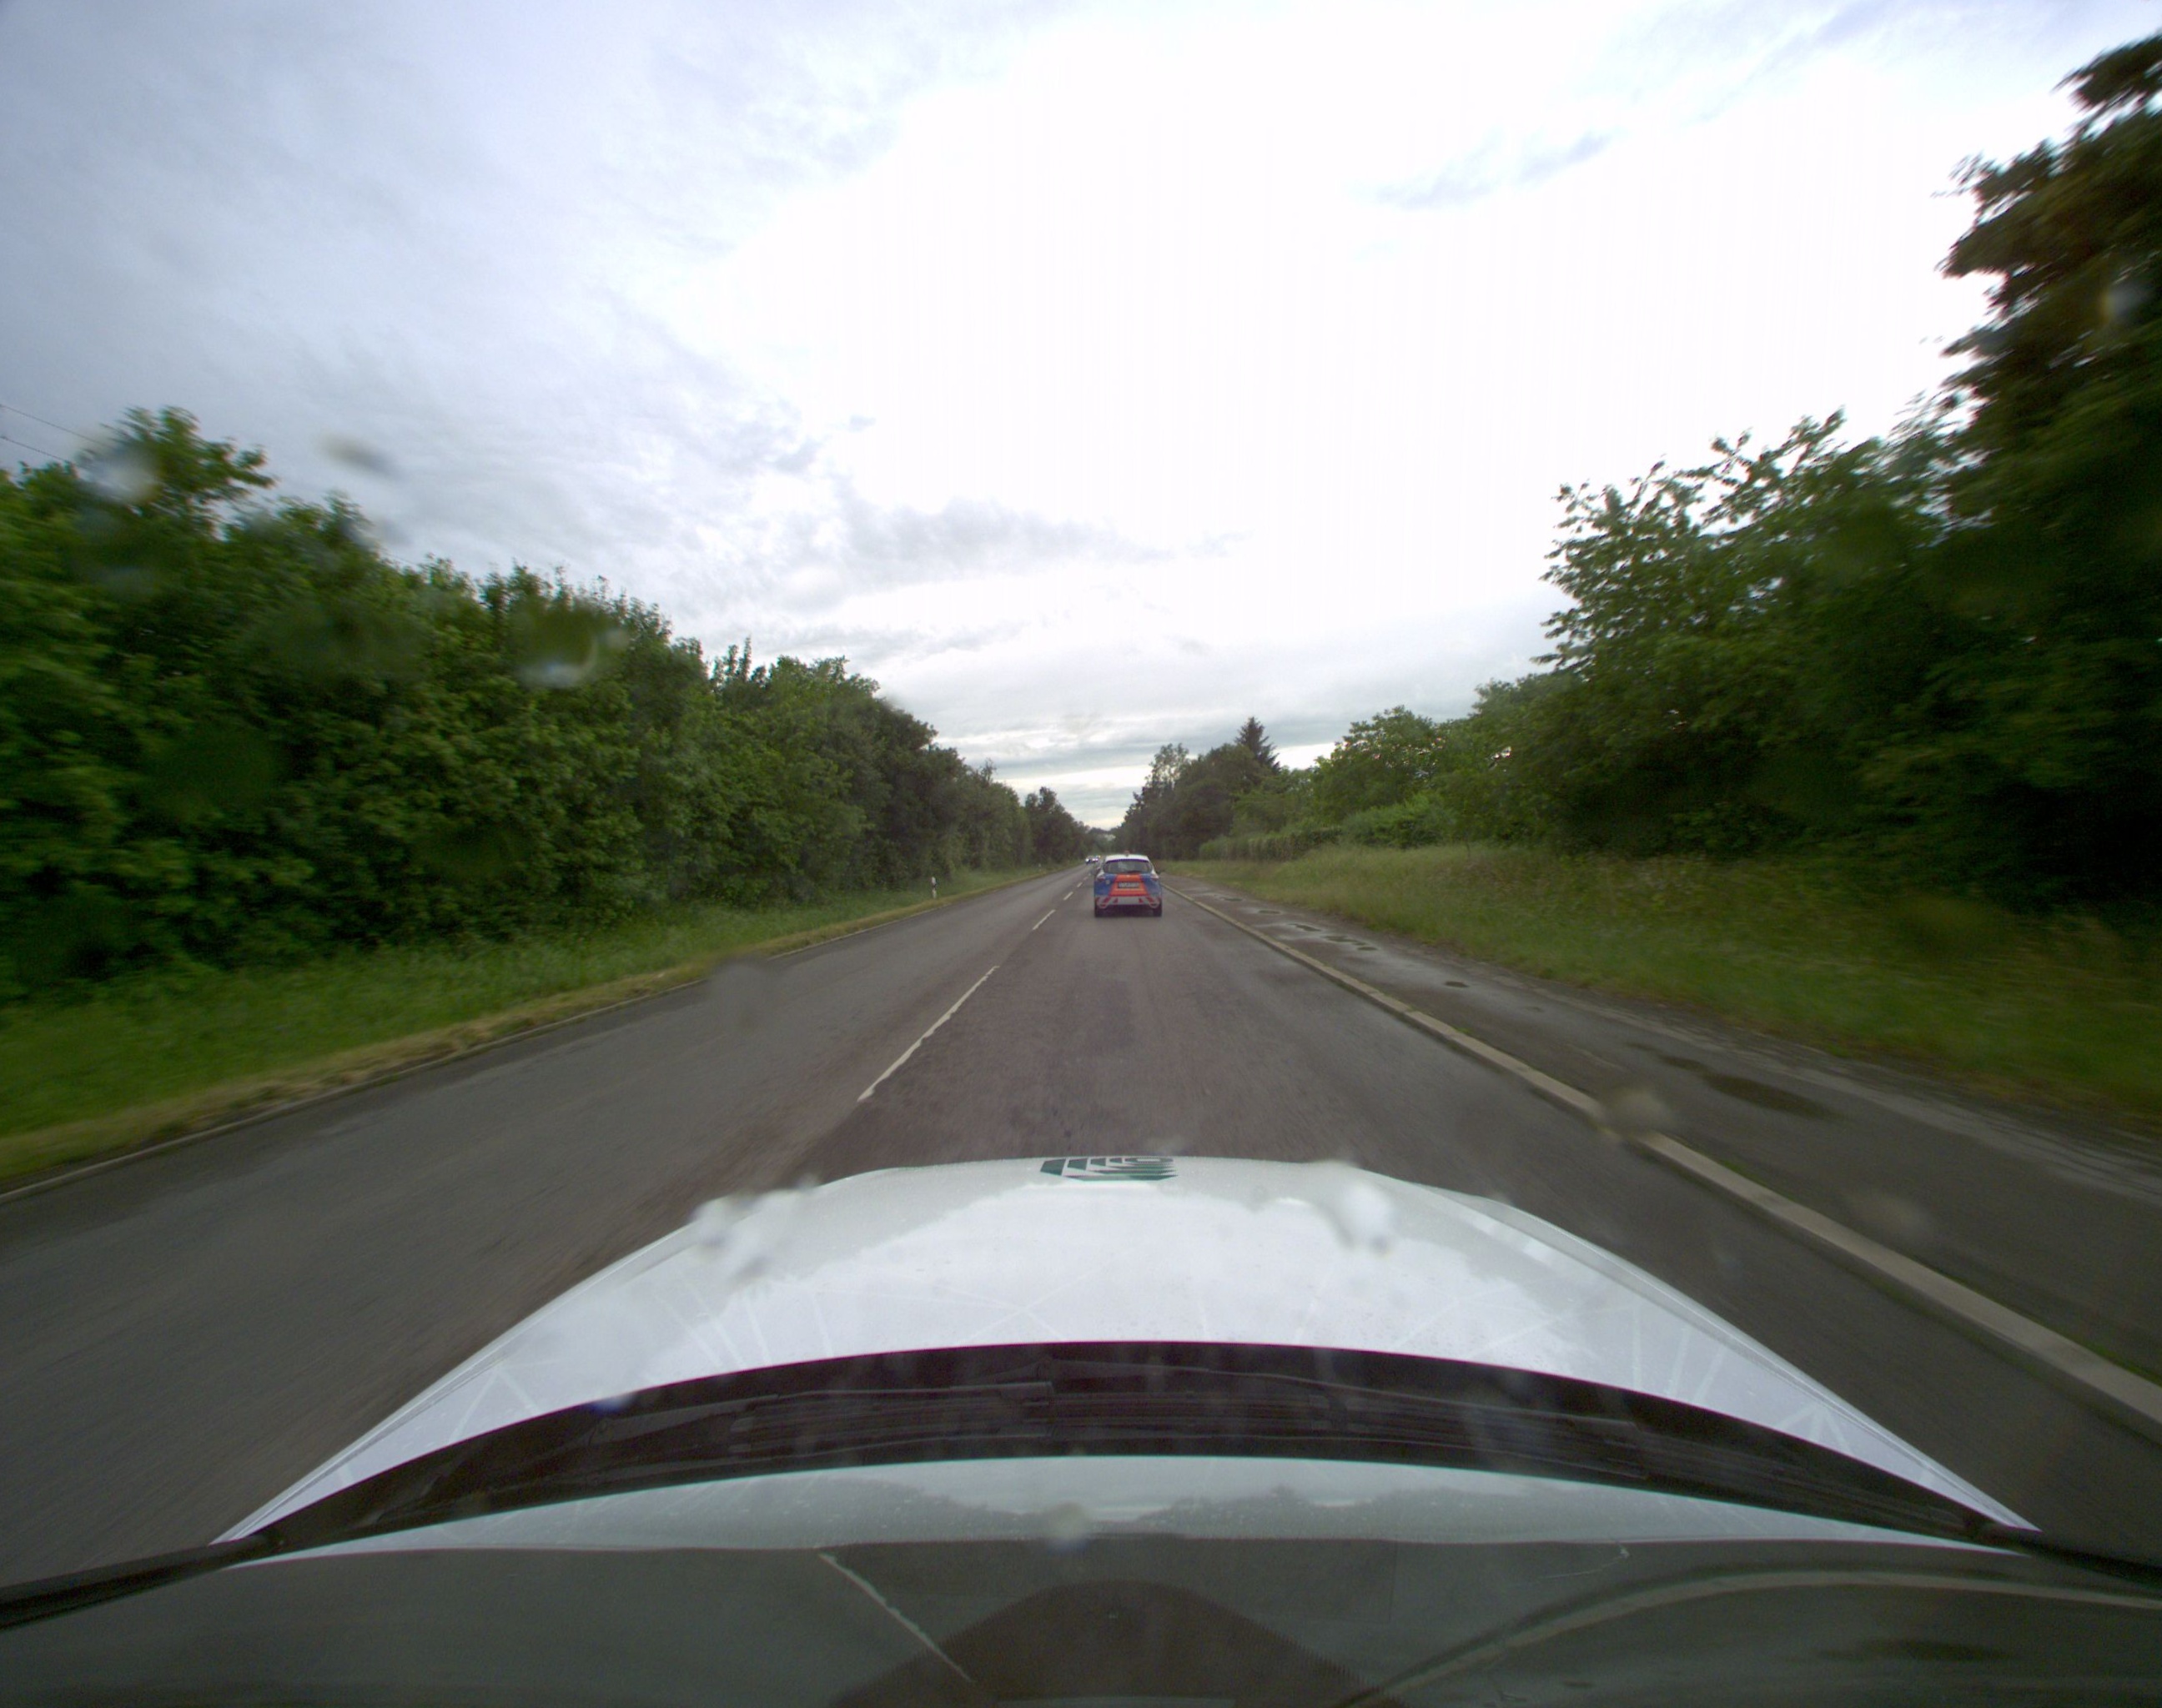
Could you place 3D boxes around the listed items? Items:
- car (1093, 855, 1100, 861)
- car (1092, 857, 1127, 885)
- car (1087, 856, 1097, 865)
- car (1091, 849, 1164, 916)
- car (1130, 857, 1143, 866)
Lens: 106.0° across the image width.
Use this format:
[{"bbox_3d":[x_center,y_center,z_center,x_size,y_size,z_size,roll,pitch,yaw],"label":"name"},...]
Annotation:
[{"bbox_3d":[4.257,1.014,217.449,1.704,1.399,4.151,-4,0,1],"label":"car"},{"bbox_3d":[1.444,0.814,40.891,1.592,1.287,3.478,-3,0,3],"label":"car"},{"bbox_3d":[2.231,1.265,160.768,1.898,1.556,4.517,-3,0,2],"label":"car"},{"bbox_3d":[1.200,0.685,21.692,1.745,1.555,3.794,-1,1,2],"label":"car"},{"bbox_3d":[9.279,1.179,136.752,1.985,1.376,4.003,-3,0,2],"label":"car"}]
